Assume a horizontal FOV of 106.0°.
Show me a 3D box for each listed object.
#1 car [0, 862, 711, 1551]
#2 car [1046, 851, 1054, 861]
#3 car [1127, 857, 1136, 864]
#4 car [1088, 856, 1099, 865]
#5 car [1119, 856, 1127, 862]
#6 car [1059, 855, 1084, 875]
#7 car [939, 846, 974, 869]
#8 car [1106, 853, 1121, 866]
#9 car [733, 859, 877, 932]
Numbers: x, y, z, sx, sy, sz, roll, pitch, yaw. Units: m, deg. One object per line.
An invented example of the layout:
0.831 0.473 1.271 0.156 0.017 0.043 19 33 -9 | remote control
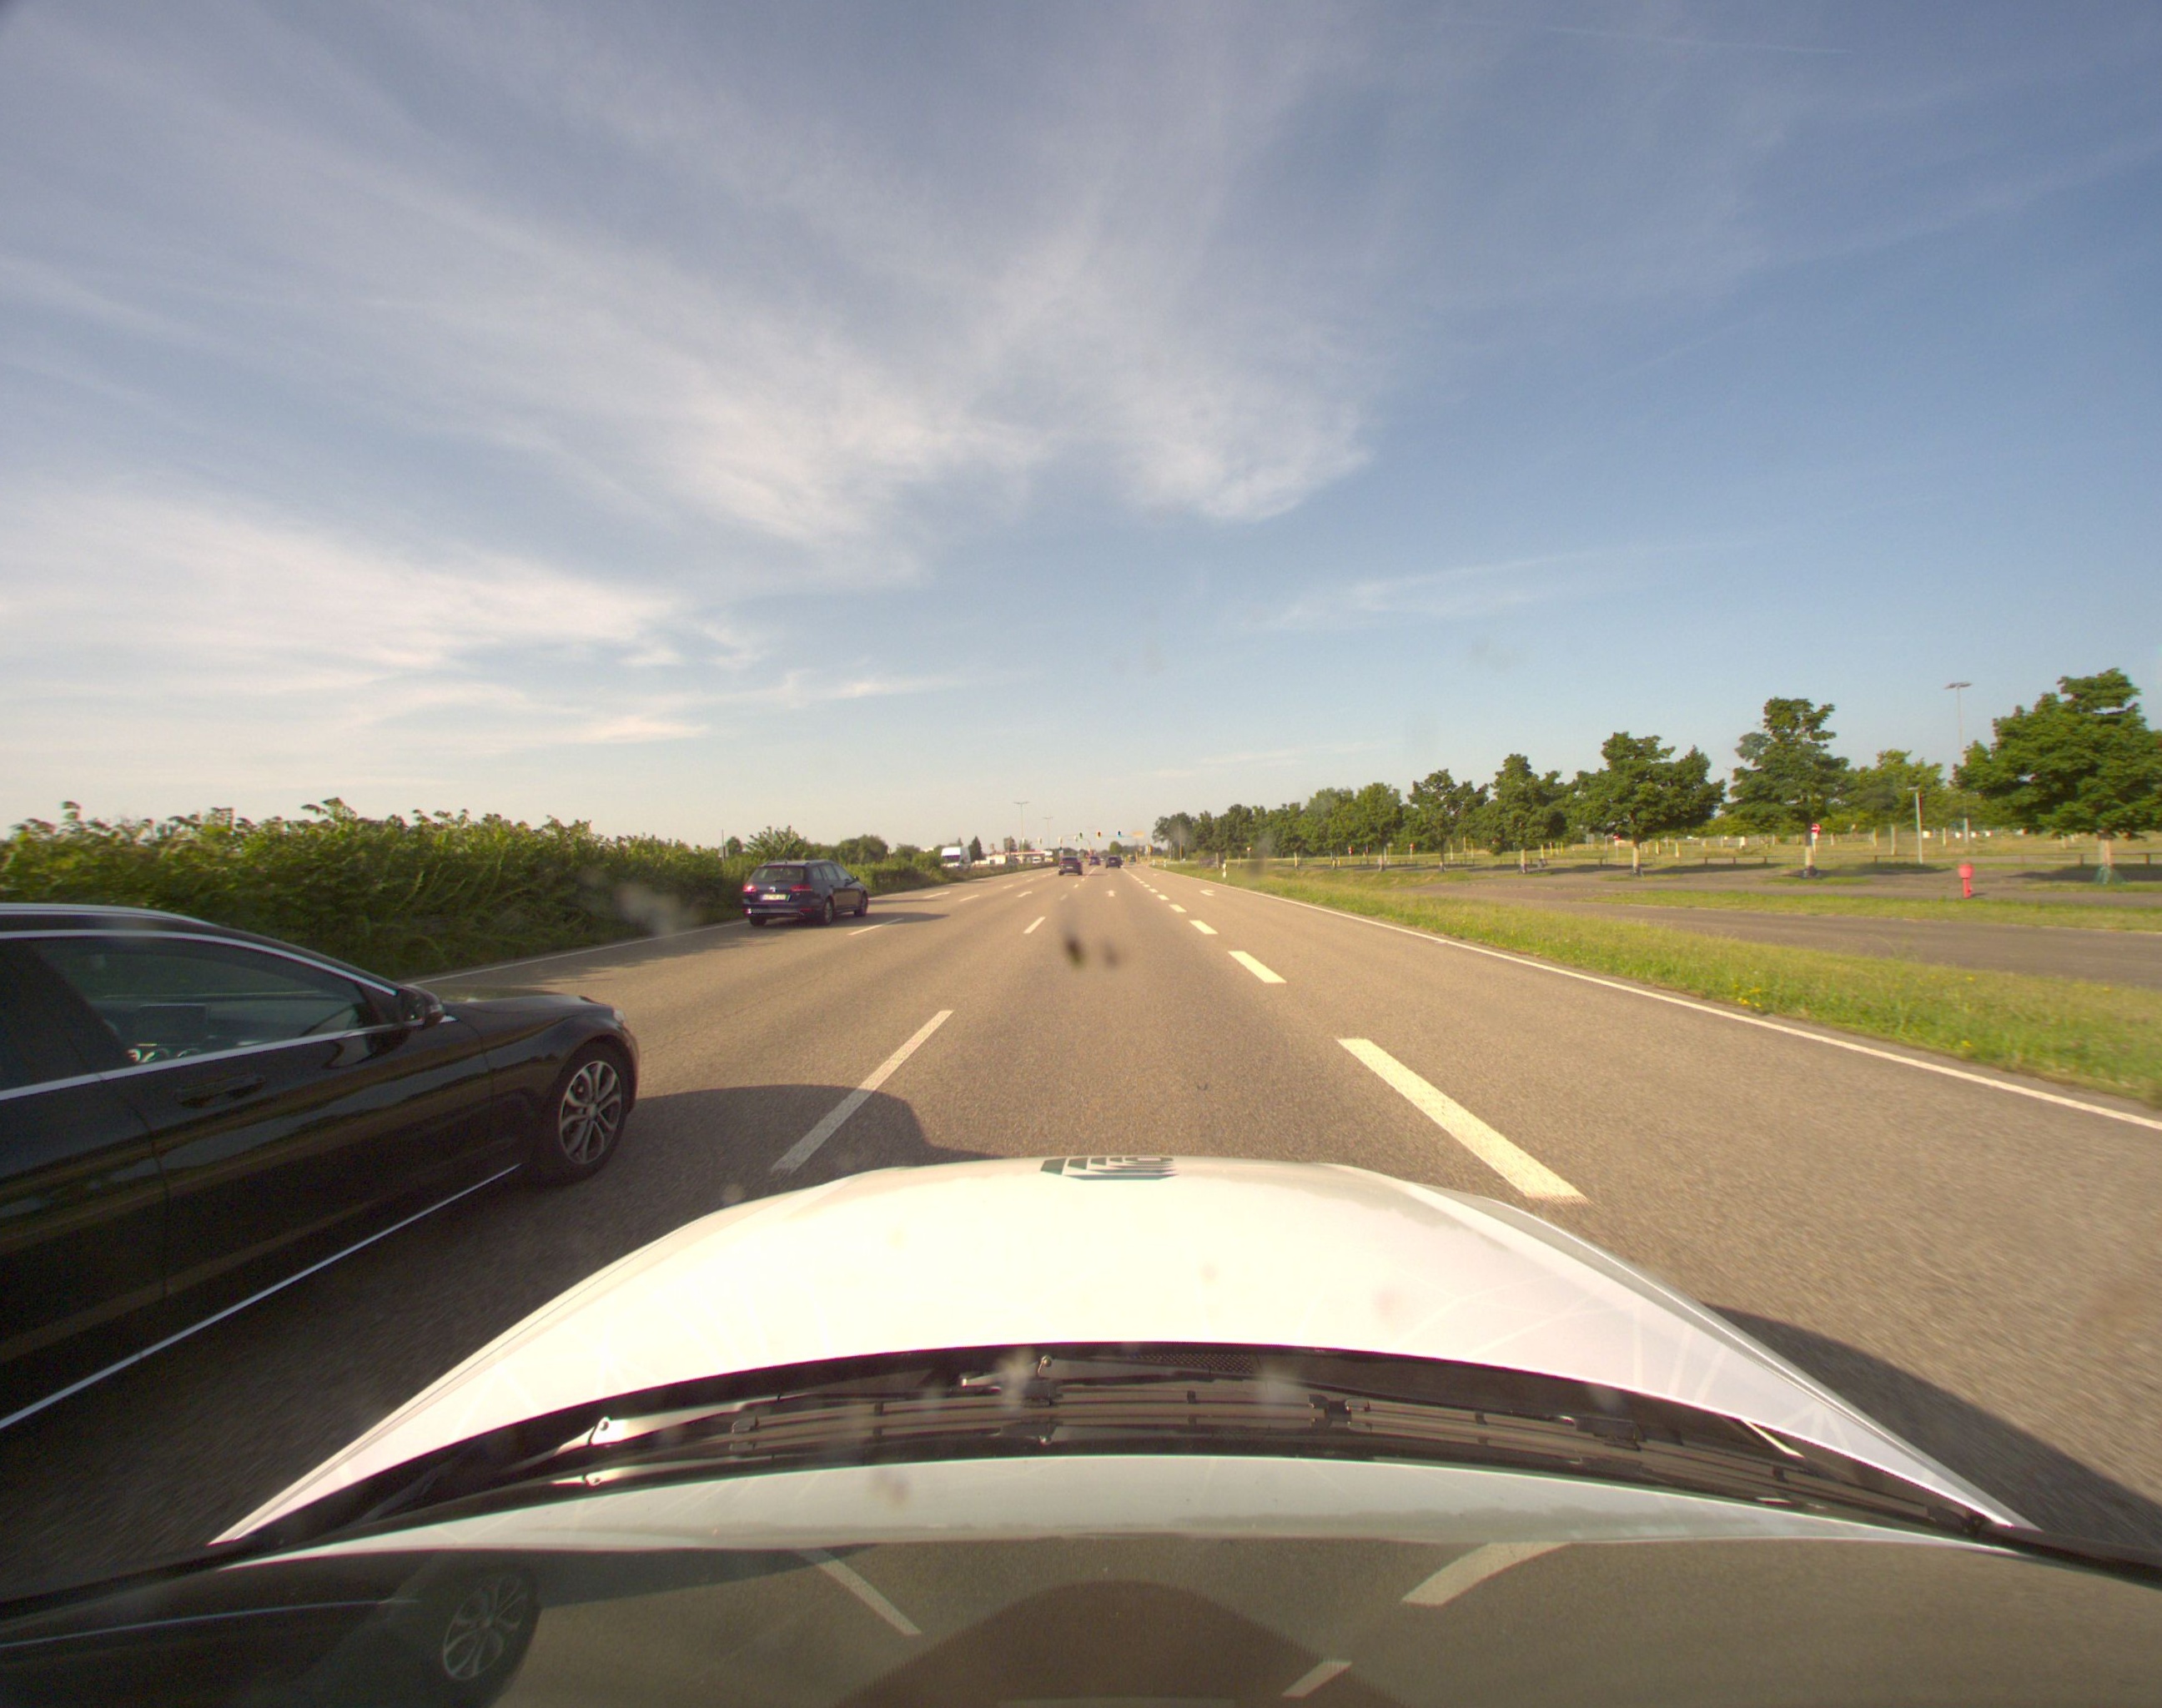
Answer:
-3.131 0.803 2.433 1.567 1.471 5.025 -1 0 2 | car
-9.497 0.565 250.081 2.263 2.852 5.251 -2 0 2 | car
11.780 1.577 188.926 1.940 1.636 3.447 -1 -1 0 | car
2.118 1.132 141.639 1.806 1.463 4.402 -1 0 2 | car
10.652 1.300 206.691 1.712 1.546 3.330 -1 -1 1 | car
-0.777 0.874 67.382 1.839 1.612 4.402 0 0 2 | car
-11.666 0.345 76.660 2.153 2.035 6.324 -1 -1 1 | car
4.410 0.685 110.123 1.925 1.680 4.402 0 0 2 | car
-6.385 0.878 19.460 1.640 1.471 4.778 -1 0 2 | car
